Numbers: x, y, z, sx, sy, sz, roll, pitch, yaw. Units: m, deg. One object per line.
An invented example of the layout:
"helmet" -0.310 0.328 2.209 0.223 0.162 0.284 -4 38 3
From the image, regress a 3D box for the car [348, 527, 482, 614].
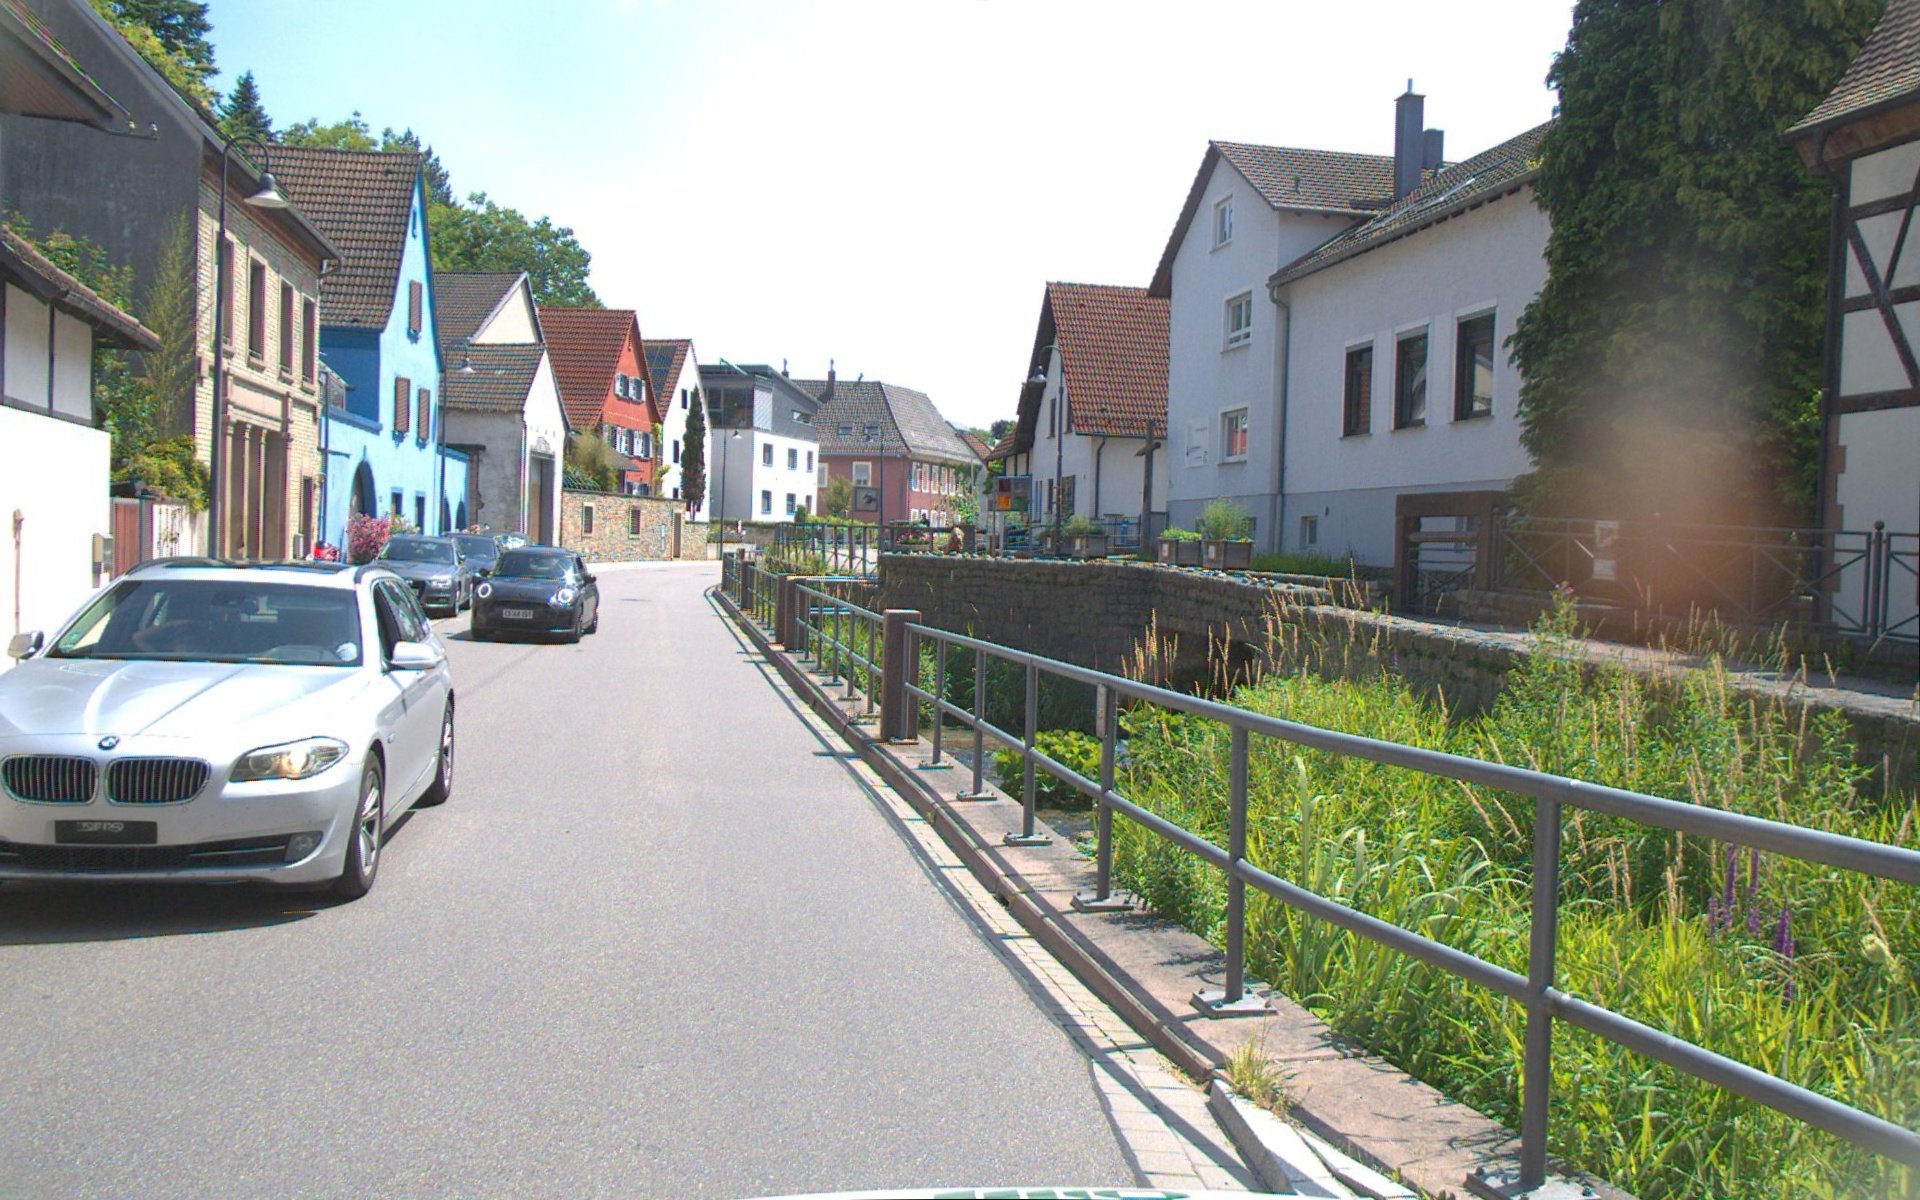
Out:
"car" -10.567 -0.598 32.348 1.922 1.491 4.533 2 1 -12

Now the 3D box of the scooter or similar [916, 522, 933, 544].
"scooter or similar" -1.847 -3.472 85.936 0.629 1.162 1.807 0 2 -10

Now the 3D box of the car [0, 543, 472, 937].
"car" -3.781 0.503 8.720 1.861 1.526 4.602 0 1 -11

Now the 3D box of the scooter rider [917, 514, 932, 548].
"scooter rider" -1.855 -3.592 85.993 0.630 1.761 0.553 2 1 -10

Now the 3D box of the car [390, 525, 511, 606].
"car" -11.325 -0.822 37.060 1.851 1.488 4.660 5 2 -10

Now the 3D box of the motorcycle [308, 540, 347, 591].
"motorcycle" -13.406 -0.745 35.082 0.410 1.018 1.853 6 1 -12

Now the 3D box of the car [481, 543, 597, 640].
"car" -6.972 -0.176 27.702 1.669 1.491 4.423 0 1 -12
